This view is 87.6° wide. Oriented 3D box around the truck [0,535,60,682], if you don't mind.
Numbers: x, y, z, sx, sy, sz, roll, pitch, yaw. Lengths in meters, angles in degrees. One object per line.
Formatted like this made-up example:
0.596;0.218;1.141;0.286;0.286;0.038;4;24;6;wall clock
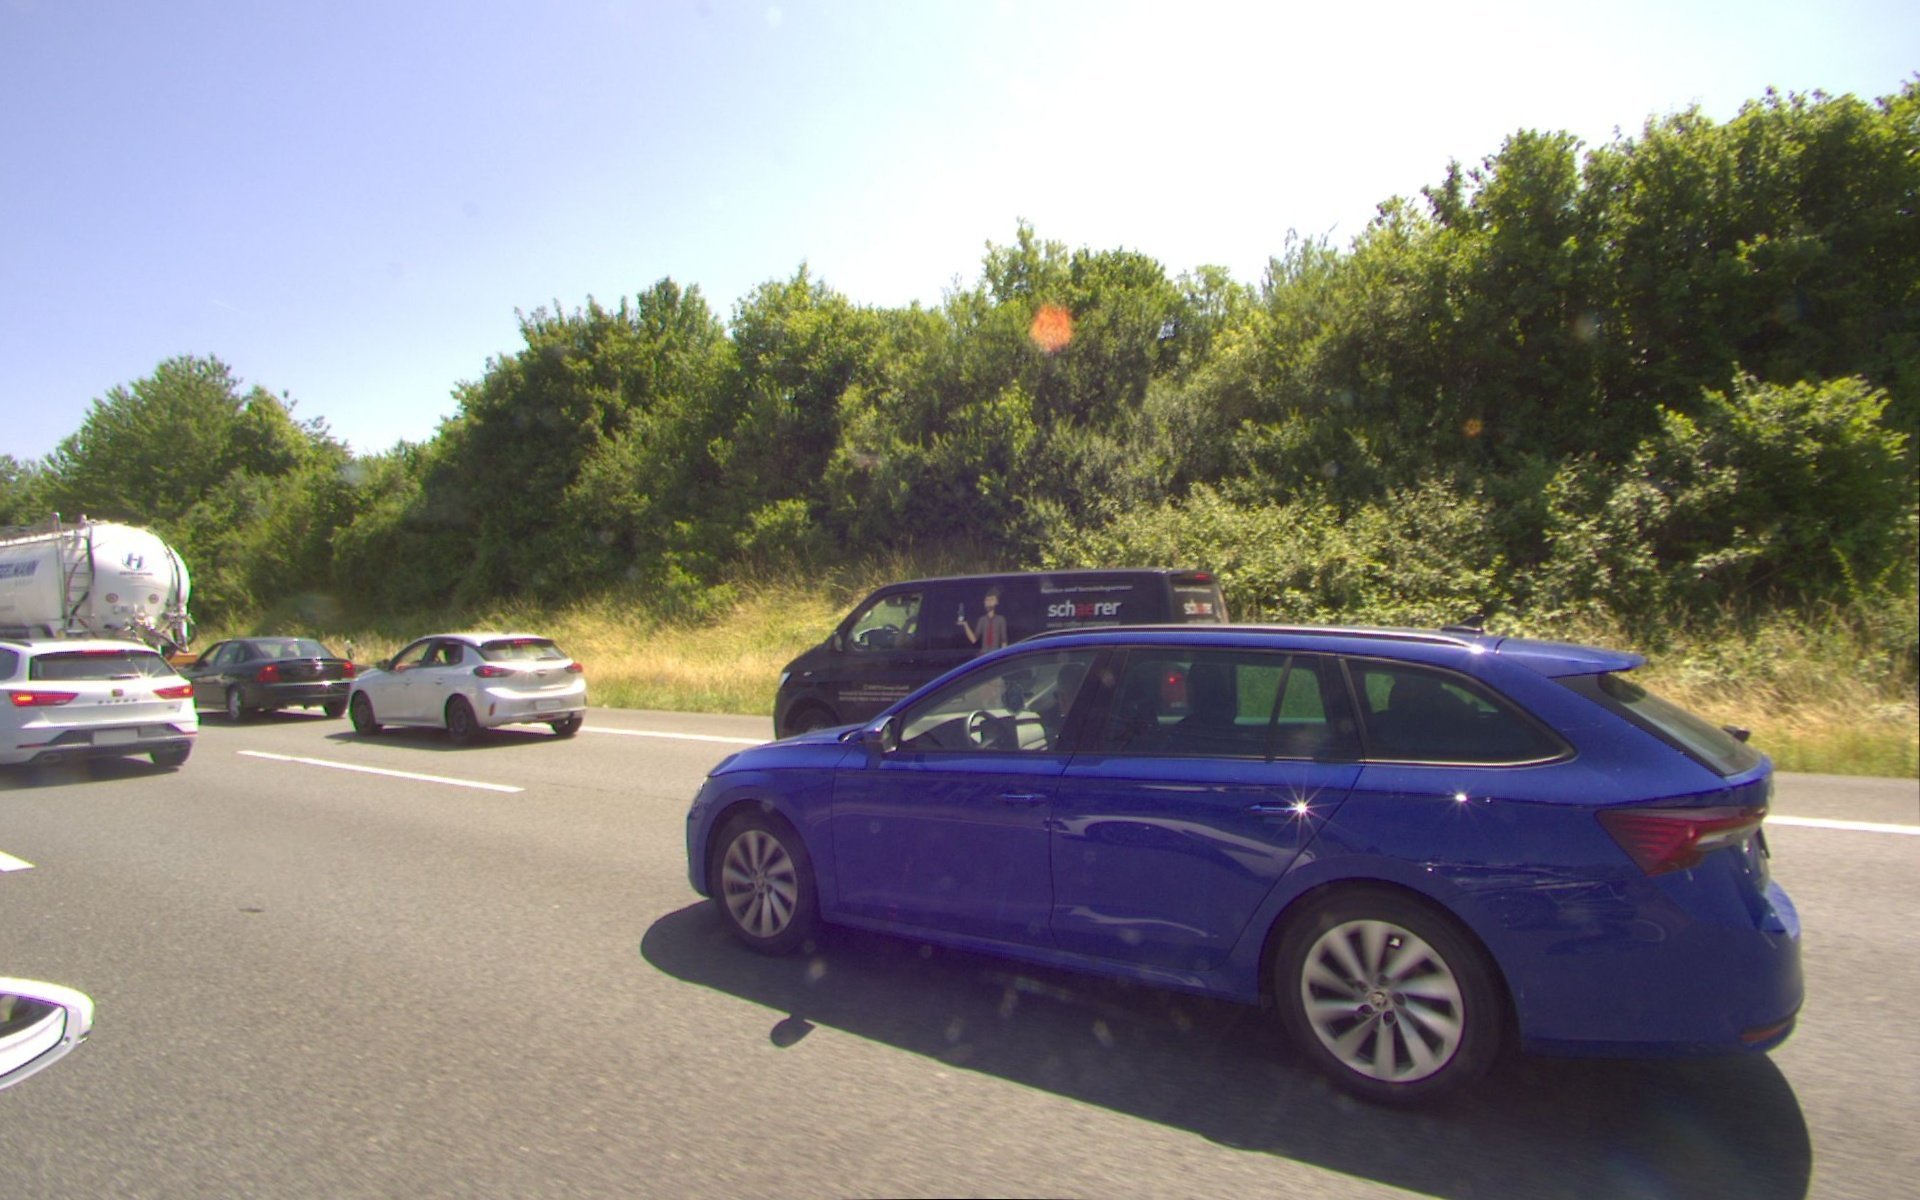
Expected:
-27.815;0.286;27.855;5.494;3.887;2.787;-1;0;33;truck

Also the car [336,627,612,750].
-6.930;1.139;14.179;3.971;1.462;1.727;-1;0;33;car

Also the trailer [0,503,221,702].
-21.733;0.168;23.919;11.325;3.895;2.755;-1;0;33;trailer

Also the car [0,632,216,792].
-10.291;1.143;11.298;4.255;1.462;1.743;-2;-1;34;car

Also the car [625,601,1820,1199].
0.692;0.806;4.425;4.512;1.435;1.771;-2;0;35;car

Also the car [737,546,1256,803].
0.215;0.655;9.808;4.791;1.965;1.909;-2;-1;34;car

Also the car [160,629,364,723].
-12.400;1.295;17.732;3.935;1.435;1.637;-2;0;34;car
